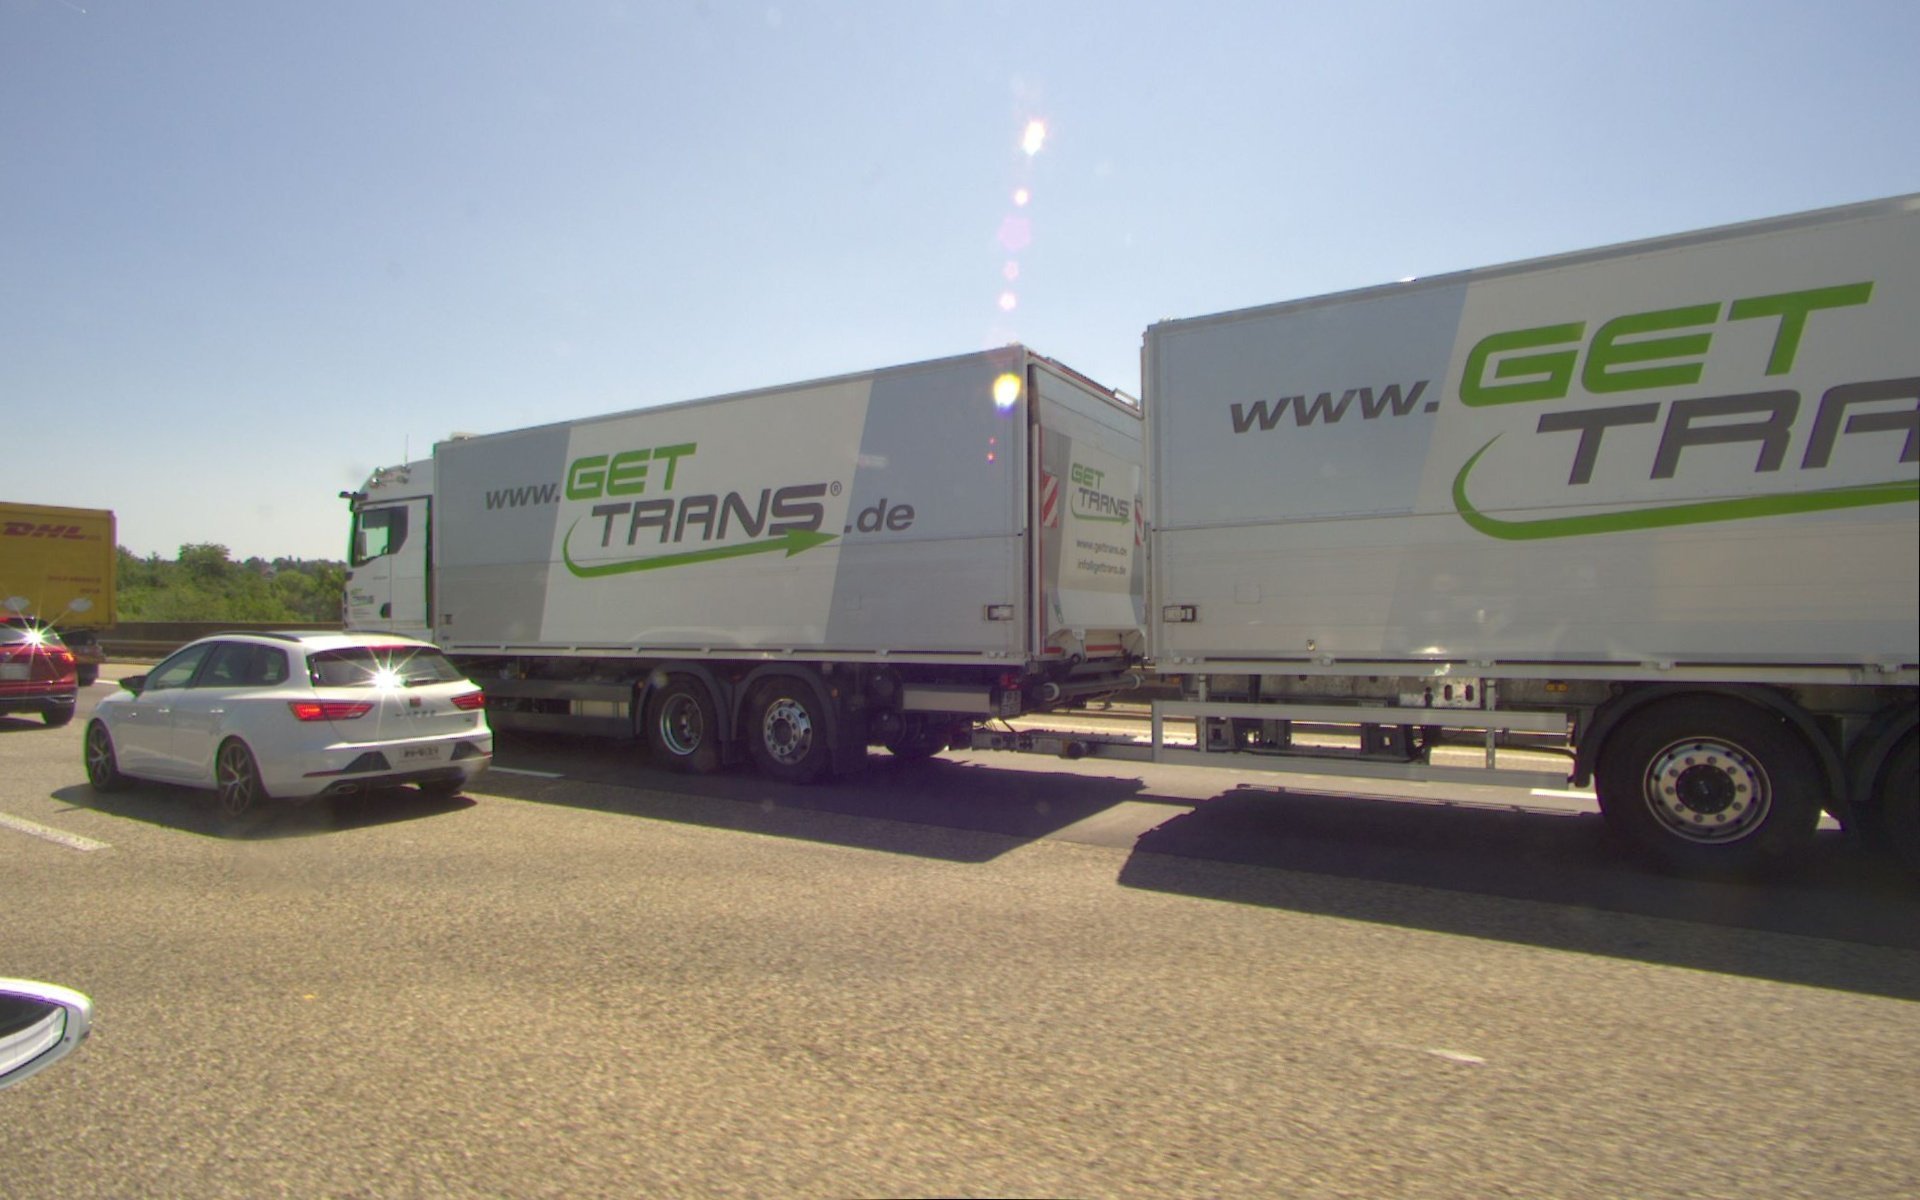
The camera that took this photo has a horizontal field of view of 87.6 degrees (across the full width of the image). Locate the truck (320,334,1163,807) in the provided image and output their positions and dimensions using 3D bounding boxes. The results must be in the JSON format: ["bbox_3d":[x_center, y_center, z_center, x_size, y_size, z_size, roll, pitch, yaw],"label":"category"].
[{"bbox_3d":[-3.192,-0.133,11.714,10.611,3.649,2.847,-1,-2,31],"label":"truck"}]

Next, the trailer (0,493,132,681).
[{"bbox_3d":[-24.029,-0.166,24.840,8.802,4.075,2.697,-1,-2,32],"label":"trailer"}]

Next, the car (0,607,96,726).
[{"bbox_3d":[-14.714,0.923,14.821,3.942,1.629,1.848,0,-1,32],"label":"car"}]

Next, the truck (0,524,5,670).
[{"bbox_3d":[-32.093,-0.033,29.876,10.187,4.106,2.718,-1,-2,32],"label":"truck"}]

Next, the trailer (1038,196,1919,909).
[{"bbox_3d":[4.824,-0.203,6.822,8.170,3.641,2.840,0,-1,31],"label":"trailer"}]

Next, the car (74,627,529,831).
[{"bbox_3d":[-5.896,0.950,8.864,4.126,1.405,1.779,-1,-1,31],"label":"car"}]
